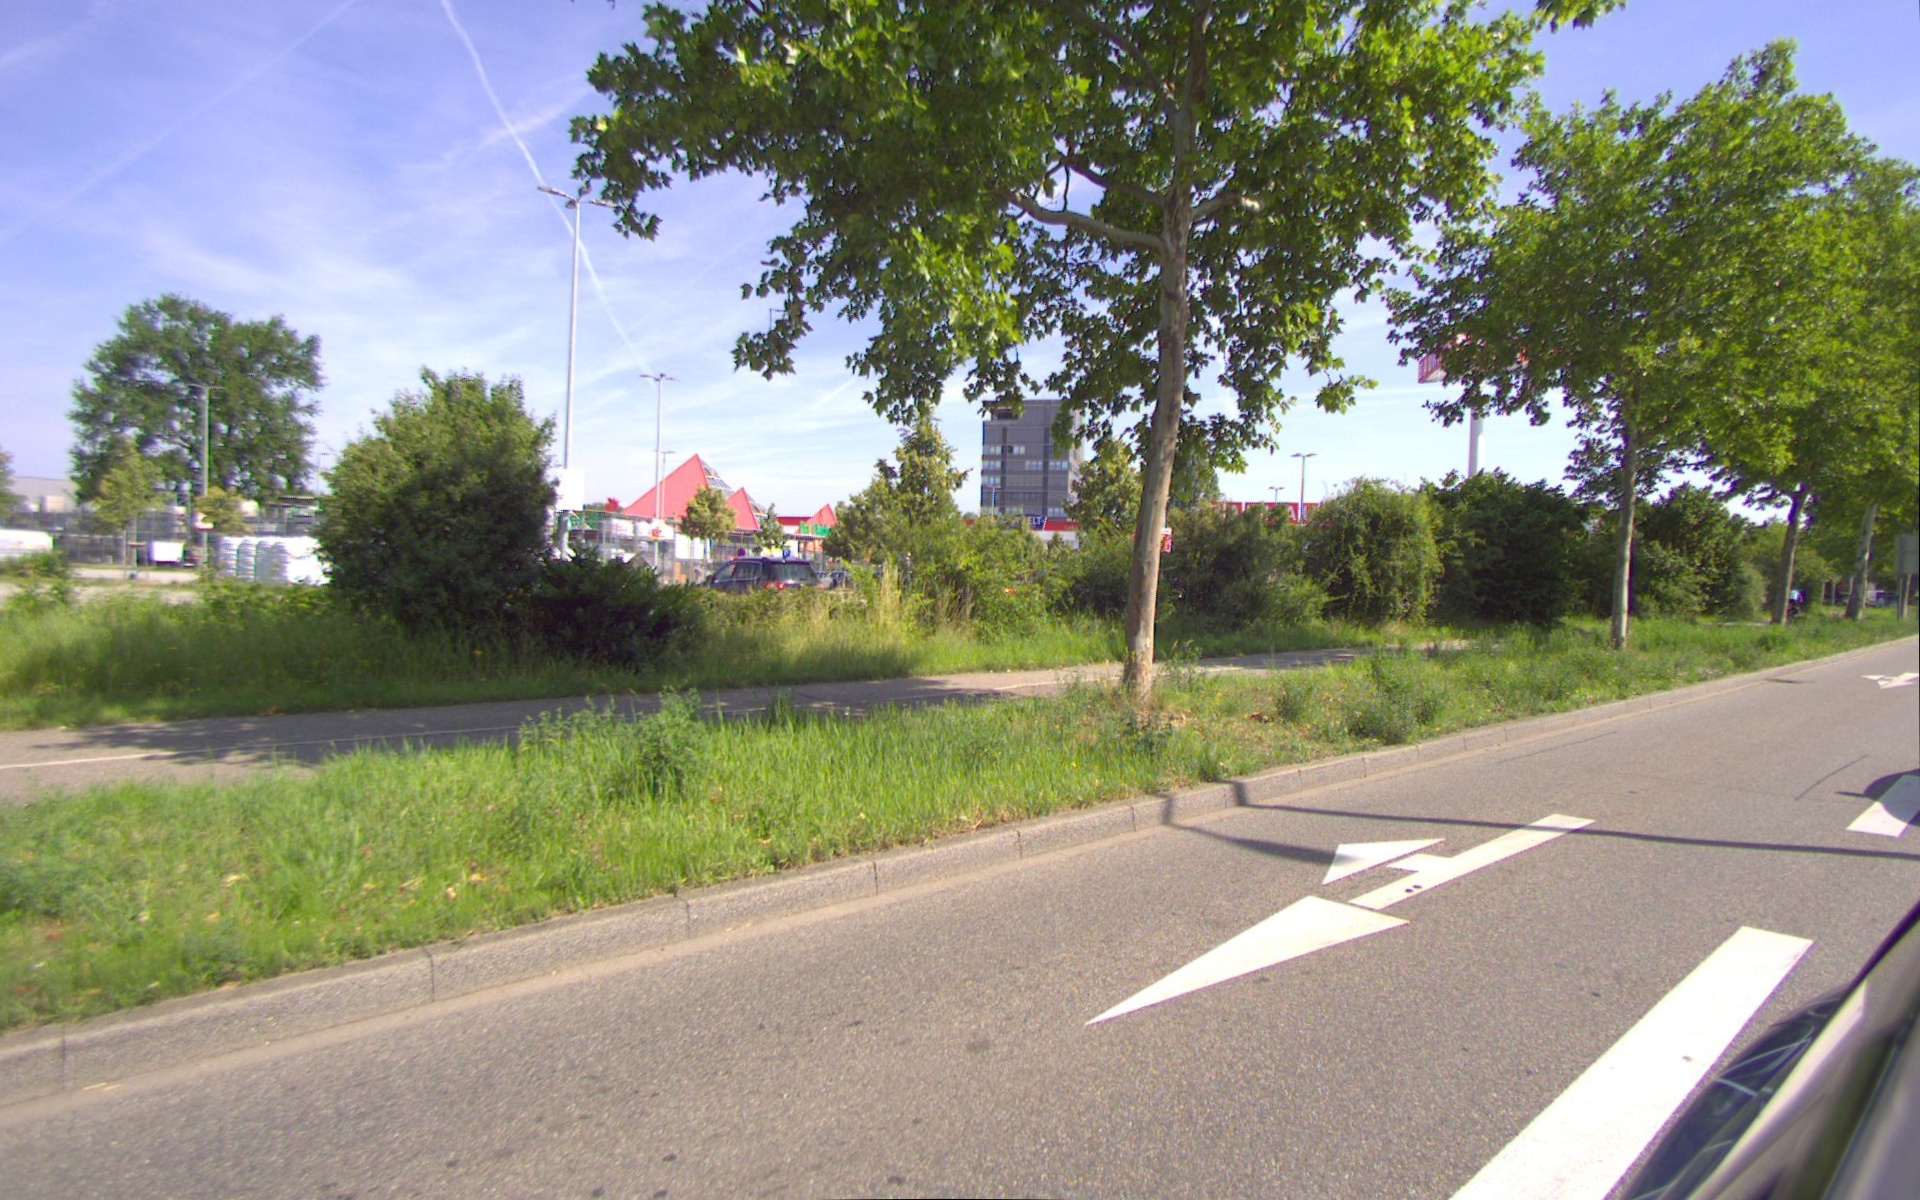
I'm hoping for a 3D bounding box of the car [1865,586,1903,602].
[{"bbox_3d":[122.180,-0.803,133.871,1.974,2.038,4.672,2,2,18],"label":"car"}]

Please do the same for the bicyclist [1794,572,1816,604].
[{"bbox_3d":[44.191,-0.623,52.927,0.984,1.651,0.686,0,2,-41],"label":"bicyclist"}]

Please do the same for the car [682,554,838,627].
[{"bbox_3d":[-4.919,-0.287,24.596,3.850,1.604,1.821,3,3,43],"label":"car"}]

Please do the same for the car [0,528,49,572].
[{"bbox_3d":[-41.795,-2.188,42.712,1.846,1.838,4.815,3,1,11],"label":"car"}]

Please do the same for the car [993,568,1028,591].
[{"bbox_3d":[3.484,-1.415,69.211,1.665,1.473,3.985,2,2,13],"label":"car"}]

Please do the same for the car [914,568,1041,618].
[{"bbox_3d":[0.483,-0.235,30.064,3.553,1.315,1.740,3,3,43],"label":"car"}]

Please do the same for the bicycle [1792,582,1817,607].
[{"bbox_3d":[44.143,-0.280,52.896,1.900,1.252,0.686,0,2,-41],"label":"bicycle"}]
